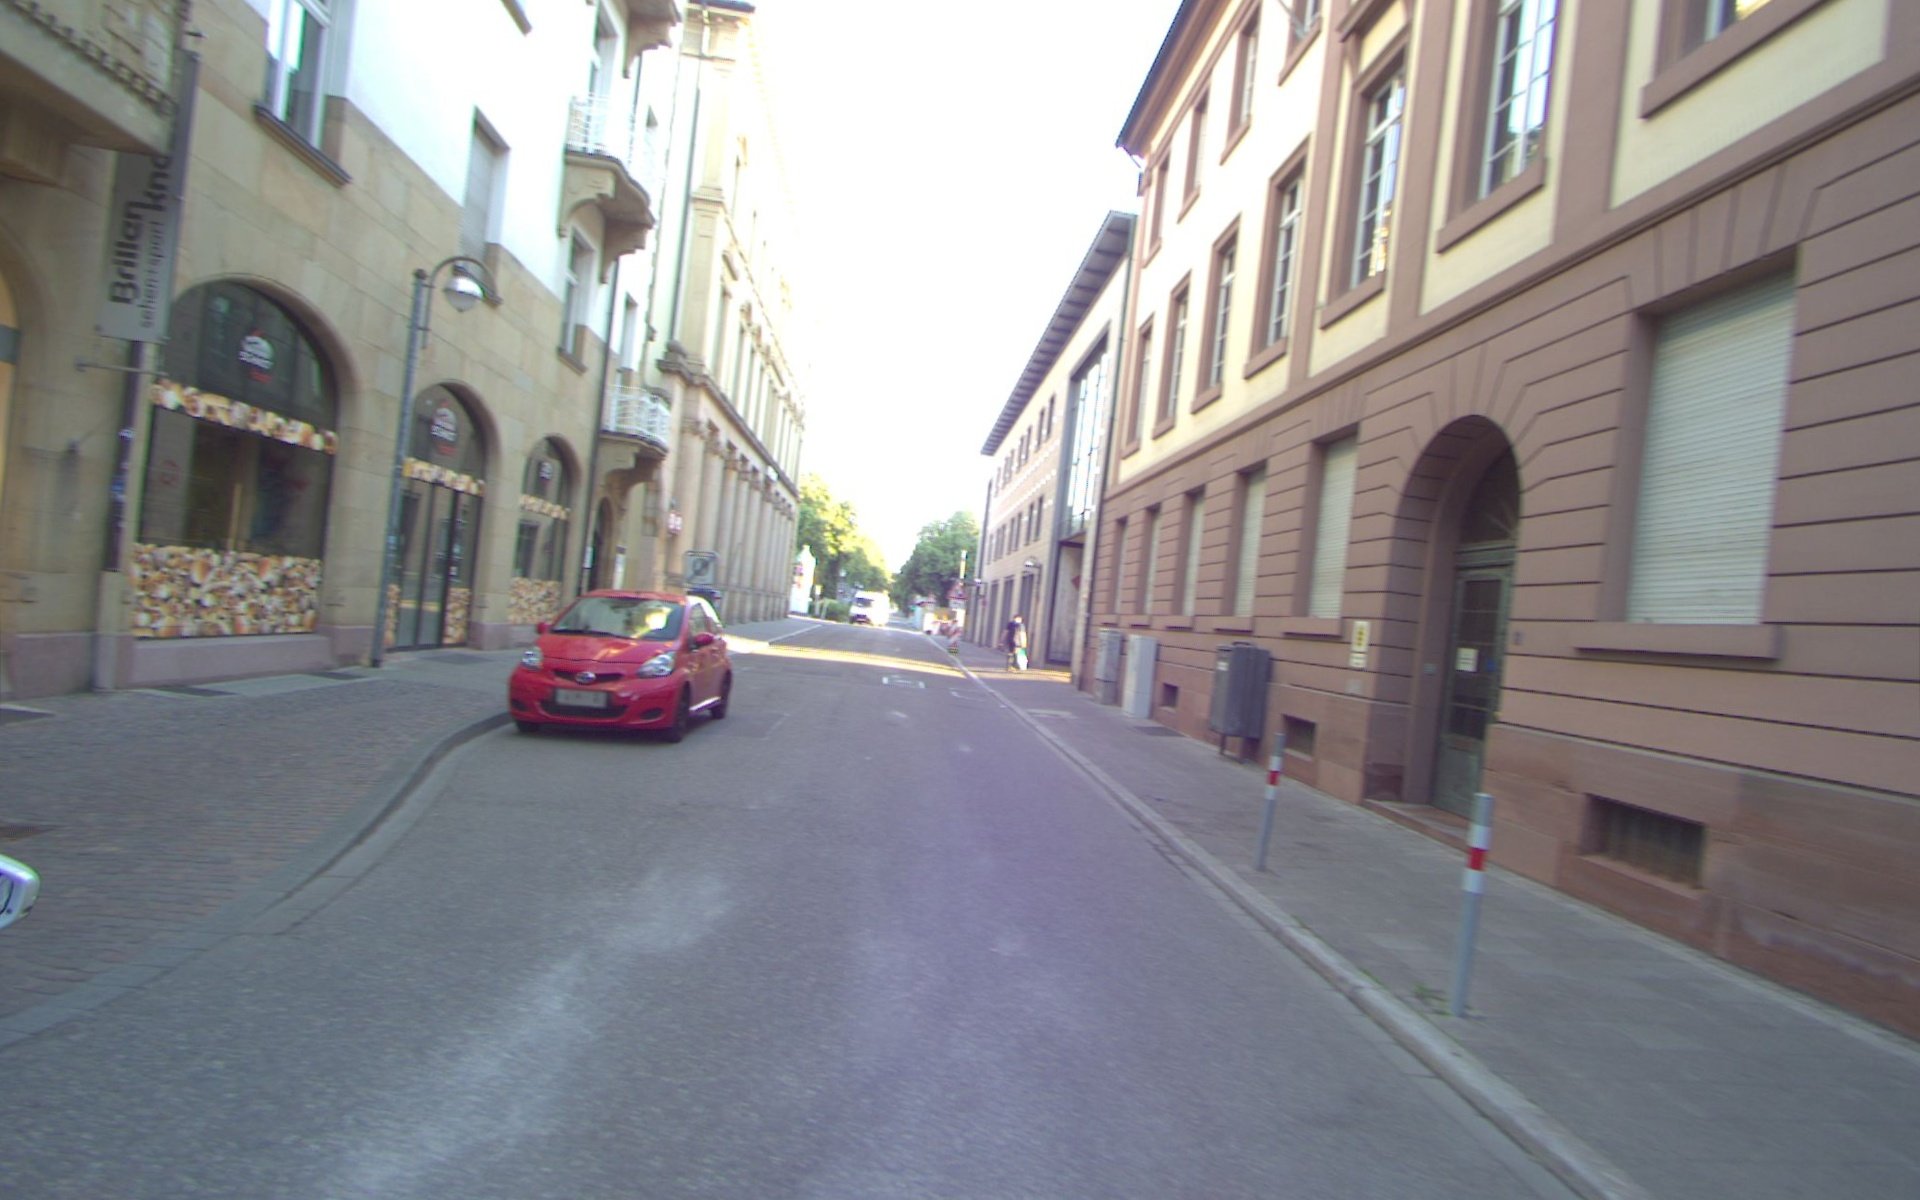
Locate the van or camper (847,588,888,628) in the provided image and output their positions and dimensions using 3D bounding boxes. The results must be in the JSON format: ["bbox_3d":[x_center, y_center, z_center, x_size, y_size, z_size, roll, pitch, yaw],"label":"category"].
[{"bbox_3d":[-6.857,0.631,75.170,2.185,2.616,6.372,7,-1,1],"label":"van or camper"}]

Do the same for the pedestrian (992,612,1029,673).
[{"bbox_3d":[1.552,1.310,31.028,0.985,1.826,0.881,2,0,-5],"label":"pedestrian"}]

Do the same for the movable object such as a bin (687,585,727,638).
[{"bbox_3d":[-7.874,0.345,31.326,0.816,1.521,1.290,7,0,-3],"label":"movable object such as a bin"}]

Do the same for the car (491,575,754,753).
[{"bbox_3d":[-3.429,0.599,10.999,1.632,1.488,3.930,4,-1,-3],"label":"car"}]
